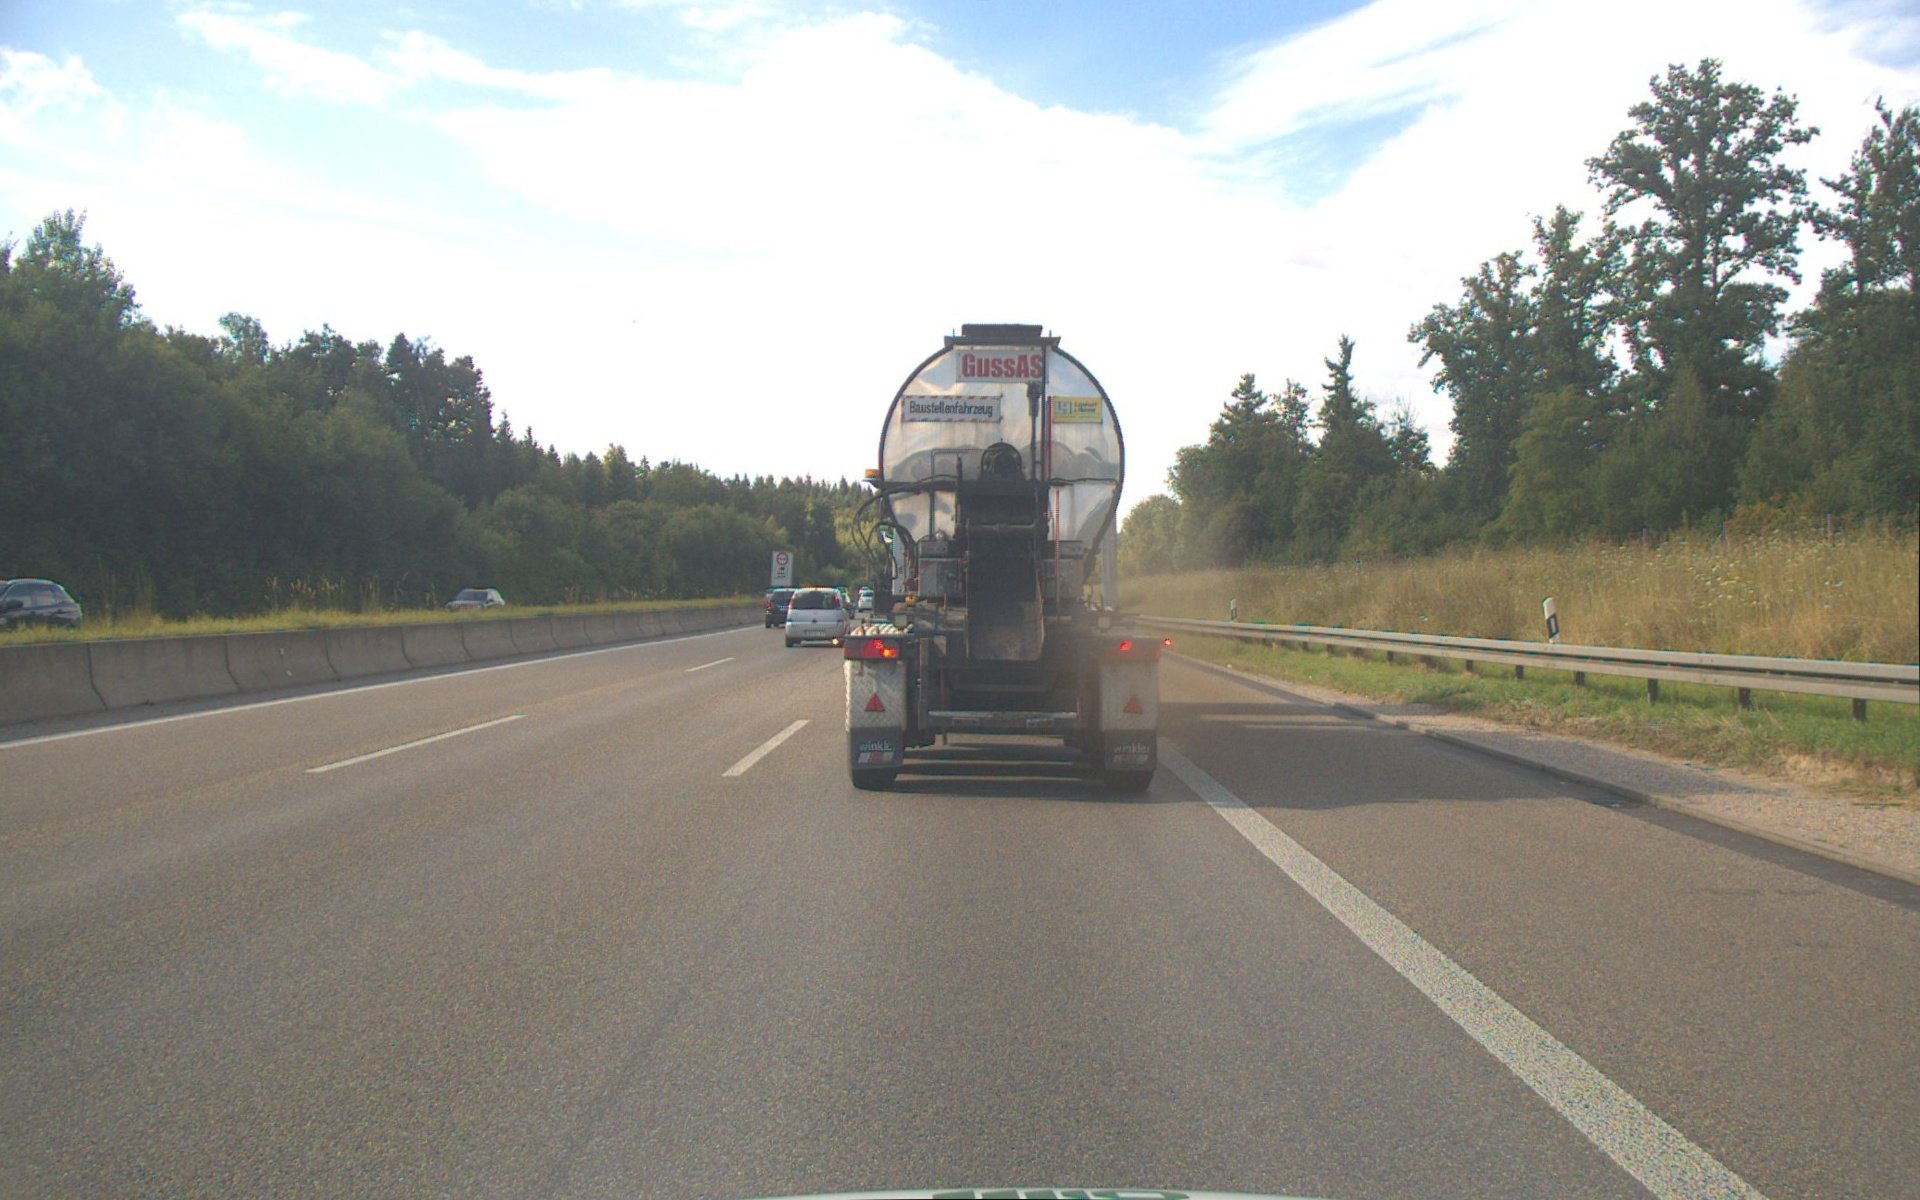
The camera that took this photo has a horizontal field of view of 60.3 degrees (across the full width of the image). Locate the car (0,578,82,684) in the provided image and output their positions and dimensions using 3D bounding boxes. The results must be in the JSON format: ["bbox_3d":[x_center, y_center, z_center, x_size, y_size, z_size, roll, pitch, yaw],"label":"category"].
[{"bbox_3d":[-18.414,0.554,30.652,1.953,1.914,4.437,0,0,-1],"label":"car"}]

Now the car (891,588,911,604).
[{"bbox_3d":[-5.891,-0.424,165.681,1.770,1.613,4.206,0,0,0],"label":"car"}]

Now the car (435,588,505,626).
[{"bbox_3d":[-22.002,0.284,74.454,1.841,1.656,4.570,0,0,-1],"label":"car"}]

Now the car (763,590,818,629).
[{"bbox_3d":[-6.962,0.379,68.179,1.798,1.544,4.333,0,0,0],"label":"car"}]

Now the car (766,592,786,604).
[{"bbox_3d":[-19.962,-0.195,179.805,1.779,1.313,3.544,0,0,0],"label":"car"}]

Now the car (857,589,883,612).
[{"bbox_3d":[-6.317,0.007,116.207,1.585,1.572,3.519,1,0,0],"label":"car"}]

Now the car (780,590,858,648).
[{"bbox_3d":[-3.906,0.504,46.456,1.798,1.544,4.333,0,0,0],"label":"car"}]

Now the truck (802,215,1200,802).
[{"bbox_3d":[0.348,-0.687,17.603,2.853,4.230,11.270,0,0,0],"label":"truck"}]

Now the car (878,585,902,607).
[{"bbox_3d":[-5.743,-0.324,136.122,1.808,1.814,3.999,0,0,-1],"label":"car"}]
